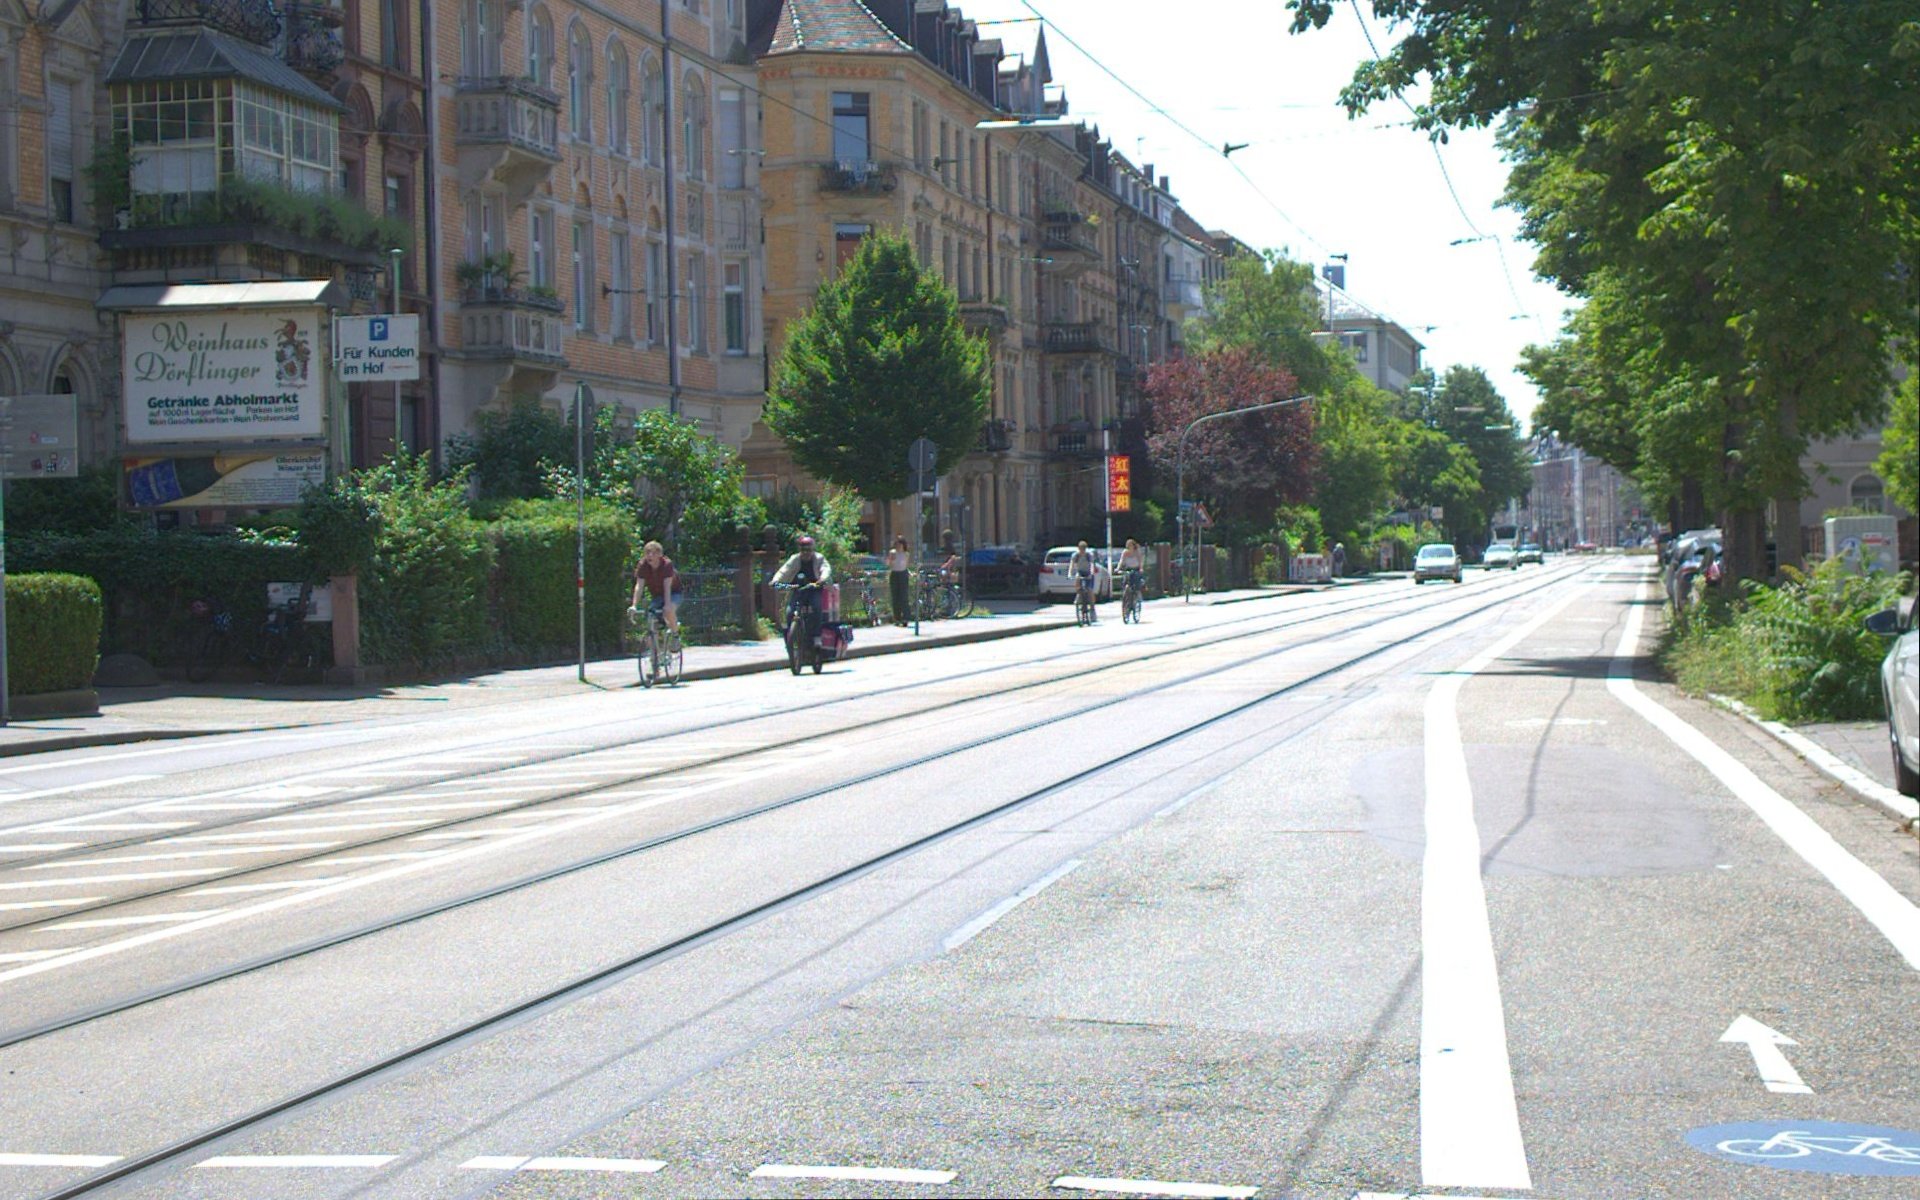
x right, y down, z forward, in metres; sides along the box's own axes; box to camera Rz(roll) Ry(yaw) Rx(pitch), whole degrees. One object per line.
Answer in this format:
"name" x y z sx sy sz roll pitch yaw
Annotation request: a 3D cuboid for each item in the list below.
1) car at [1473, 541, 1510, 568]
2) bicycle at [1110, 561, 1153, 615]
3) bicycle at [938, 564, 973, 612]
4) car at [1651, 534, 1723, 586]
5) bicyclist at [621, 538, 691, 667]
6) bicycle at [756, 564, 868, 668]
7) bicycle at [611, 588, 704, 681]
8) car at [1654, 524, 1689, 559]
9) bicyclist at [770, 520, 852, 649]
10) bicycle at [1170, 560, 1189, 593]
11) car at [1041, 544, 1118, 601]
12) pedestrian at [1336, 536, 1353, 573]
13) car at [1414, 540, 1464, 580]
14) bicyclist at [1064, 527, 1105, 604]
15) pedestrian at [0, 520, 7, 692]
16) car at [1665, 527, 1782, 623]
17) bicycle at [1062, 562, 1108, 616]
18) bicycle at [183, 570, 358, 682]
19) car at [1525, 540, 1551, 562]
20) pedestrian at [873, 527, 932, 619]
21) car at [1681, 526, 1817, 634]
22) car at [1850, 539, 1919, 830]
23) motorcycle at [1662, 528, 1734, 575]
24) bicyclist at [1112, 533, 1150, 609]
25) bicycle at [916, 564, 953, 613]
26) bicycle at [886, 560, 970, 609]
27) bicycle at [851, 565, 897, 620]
"car" 29.417 -2.536 190.245 1.757 1.419 3.998 -2 1 12
"bicycle" 3.570 -0.259 71.556 0.581 1.074 1.890 -2 1 11
"bicycle" -0.099 -0.252 72.244 0.439 0.980 1.710 -1 1 10
"car" 21.013 -1.177 99.528 1.769 1.422 4.860 -1 1 9
"bicyclist" -3.610 0.020 40.917 0.563 1.510 0.891 -1 1 12
"bicycle" -1.893 0.191 44.313 0.808 1.267 2.549 -1 1 12
"bicycle" -3.596 0.399 40.955 0.568 1.034 1.828 -1 1 12
"car" 42.981 -3.568 207.689 1.994 2.028 4.695 -1 1 11
"bicyclist" -1.912 -0.207 44.283 0.808 1.624 0.980 -1 1 12
"bicycle" 6.814 -0.723 106.641 0.454 1.000 1.806 -1 1 8
"car" 3.438 -0.798 98.096 1.866 1.594 4.101 0 1 6
"pedestrian" 17.060 -2.026 152.482 0.751 1.623 0.833 0 1 8
"car" 18.384 -1.554 131.825 1.685 1.444 3.998 -1 1 11
"bicyclist" 2.589 -0.725 71.531 0.634 1.579 1.028 -2 1 11
"pedestrian" -10.907 0.073 37.257 0.814 1.851 0.878 -2 1 -36
"car" 13.189 -0.458 59.564 1.733 1.546 4.452 -1 1 10
"bicycle" 2.606 -0.232 71.514 0.629 1.074 1.874 -2 1 11
"bicycle" -7.880 0.293 39.300 1.871 1.223 0.568 1 1 9
"car" 40.230 -3.408 239.200 1.687 1.449 3.746 -1 1 11
"pedestrian" -1.097 -0.523 65.644 0.852 1.717 1.138 2 1 12
"car" 11.684 -0.323 51.097 1.657 1.510 3.999 -1 1 9
"car" 5.685 0.344 17.560 1.778 1.406 4.155 -5 0 10
"motorcycle" 24.471 -1.620 114.038 0.867 1.535 2.320 -1 1 -35
"bicyclist" 3.561 -0.607 71.569 0.593 1.539 0.952 -2 1 11
"bicycle" -0.515 -0.238 70.246 0.439 0.980 1.710 -1 1 10
"bicycle" -0.685 -0.331 73.755 1.706 1.033 0.551 -1 1 16
"bicycle" -1.622 -0.142 65.225 0.496 0.984 1.710 3 2 10
